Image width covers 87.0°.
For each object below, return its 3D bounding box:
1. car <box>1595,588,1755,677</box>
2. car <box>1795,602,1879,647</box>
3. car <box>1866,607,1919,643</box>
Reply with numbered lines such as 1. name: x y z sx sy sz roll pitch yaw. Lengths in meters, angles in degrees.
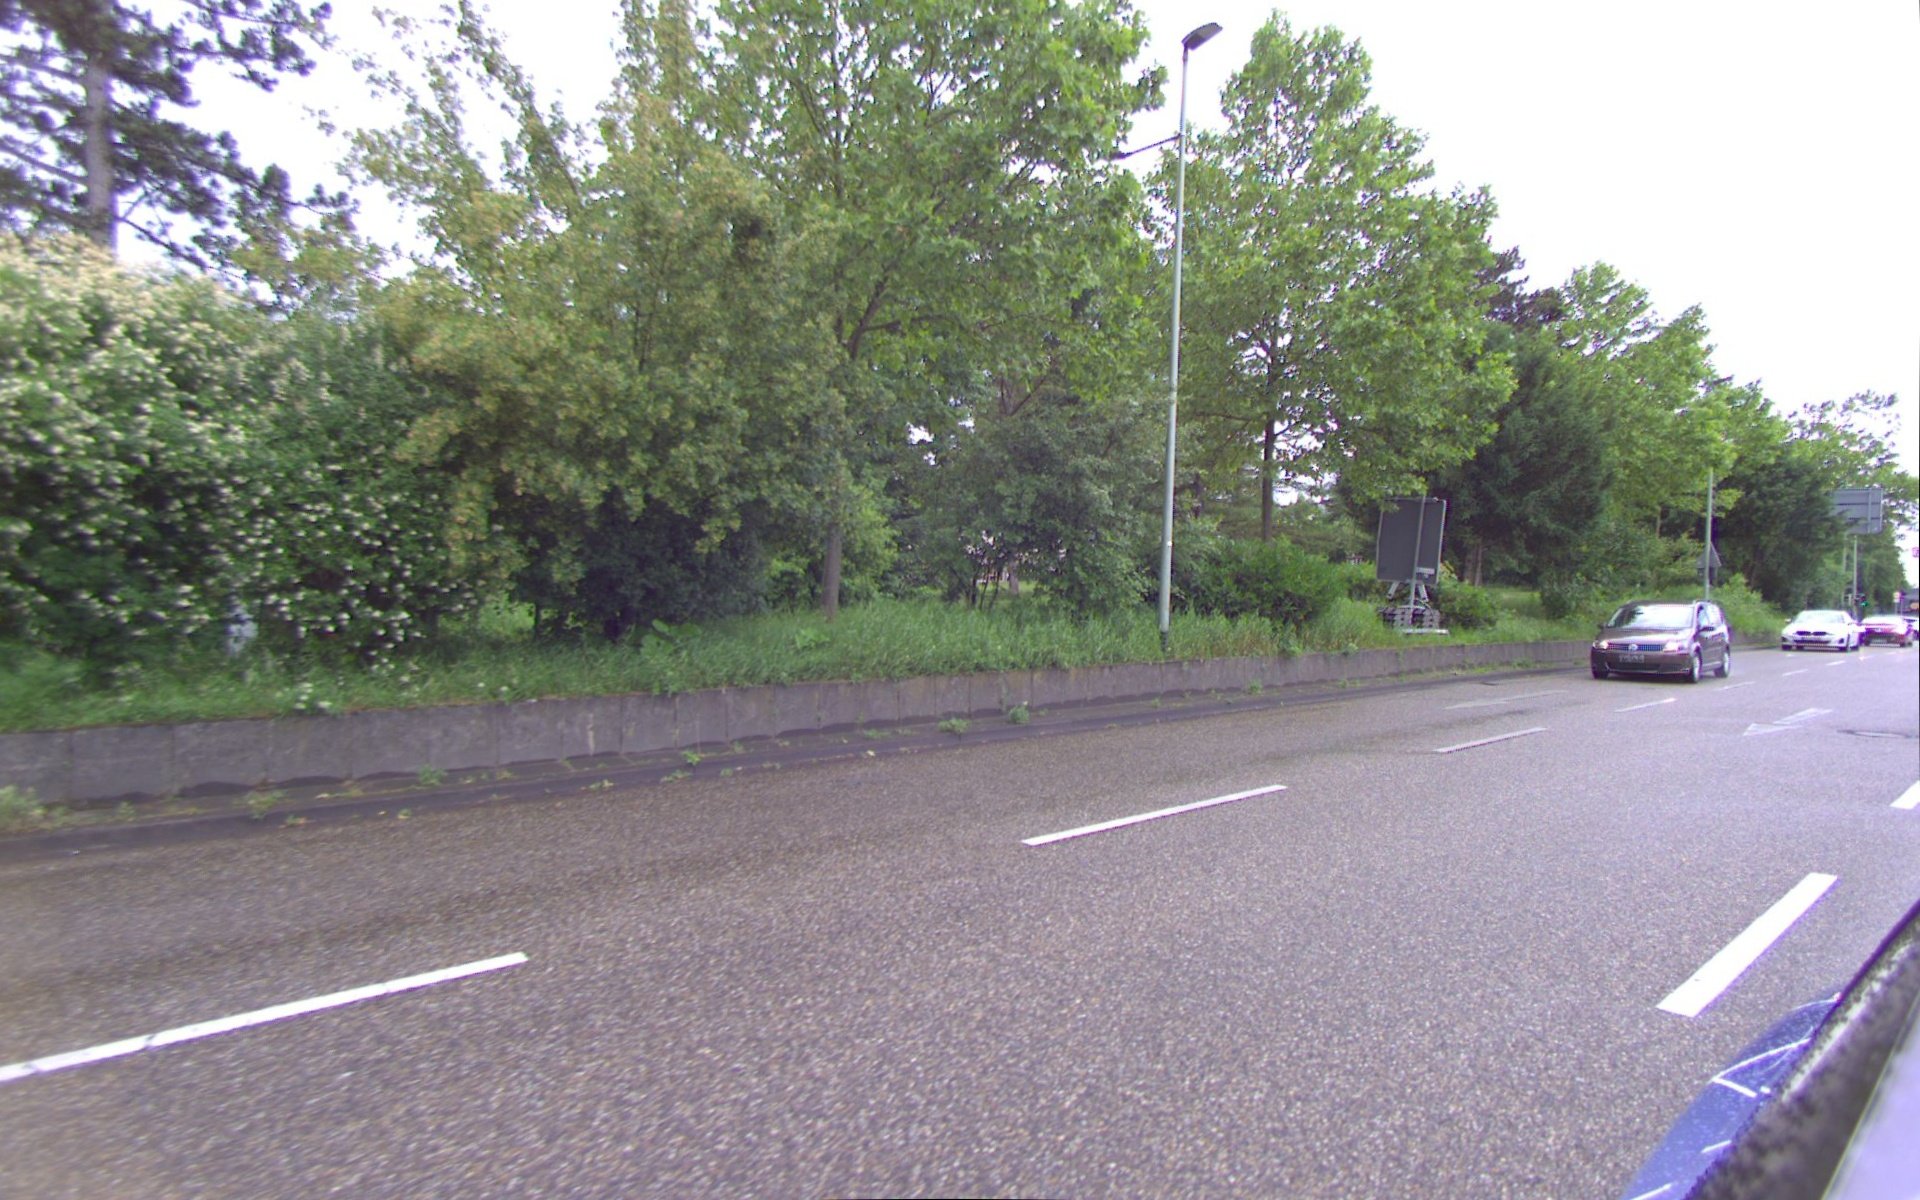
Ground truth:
1. car: 14.616 0.643 20.620 3.910 1.629 1.750 2 -1 -41
2. car: 31.495 0.880 36.304 4.599 1.475 1.782 2 -1 -43
3. car: 40.733 1.098 44.035 3.477 1.475 1.632 2 -1 -43
